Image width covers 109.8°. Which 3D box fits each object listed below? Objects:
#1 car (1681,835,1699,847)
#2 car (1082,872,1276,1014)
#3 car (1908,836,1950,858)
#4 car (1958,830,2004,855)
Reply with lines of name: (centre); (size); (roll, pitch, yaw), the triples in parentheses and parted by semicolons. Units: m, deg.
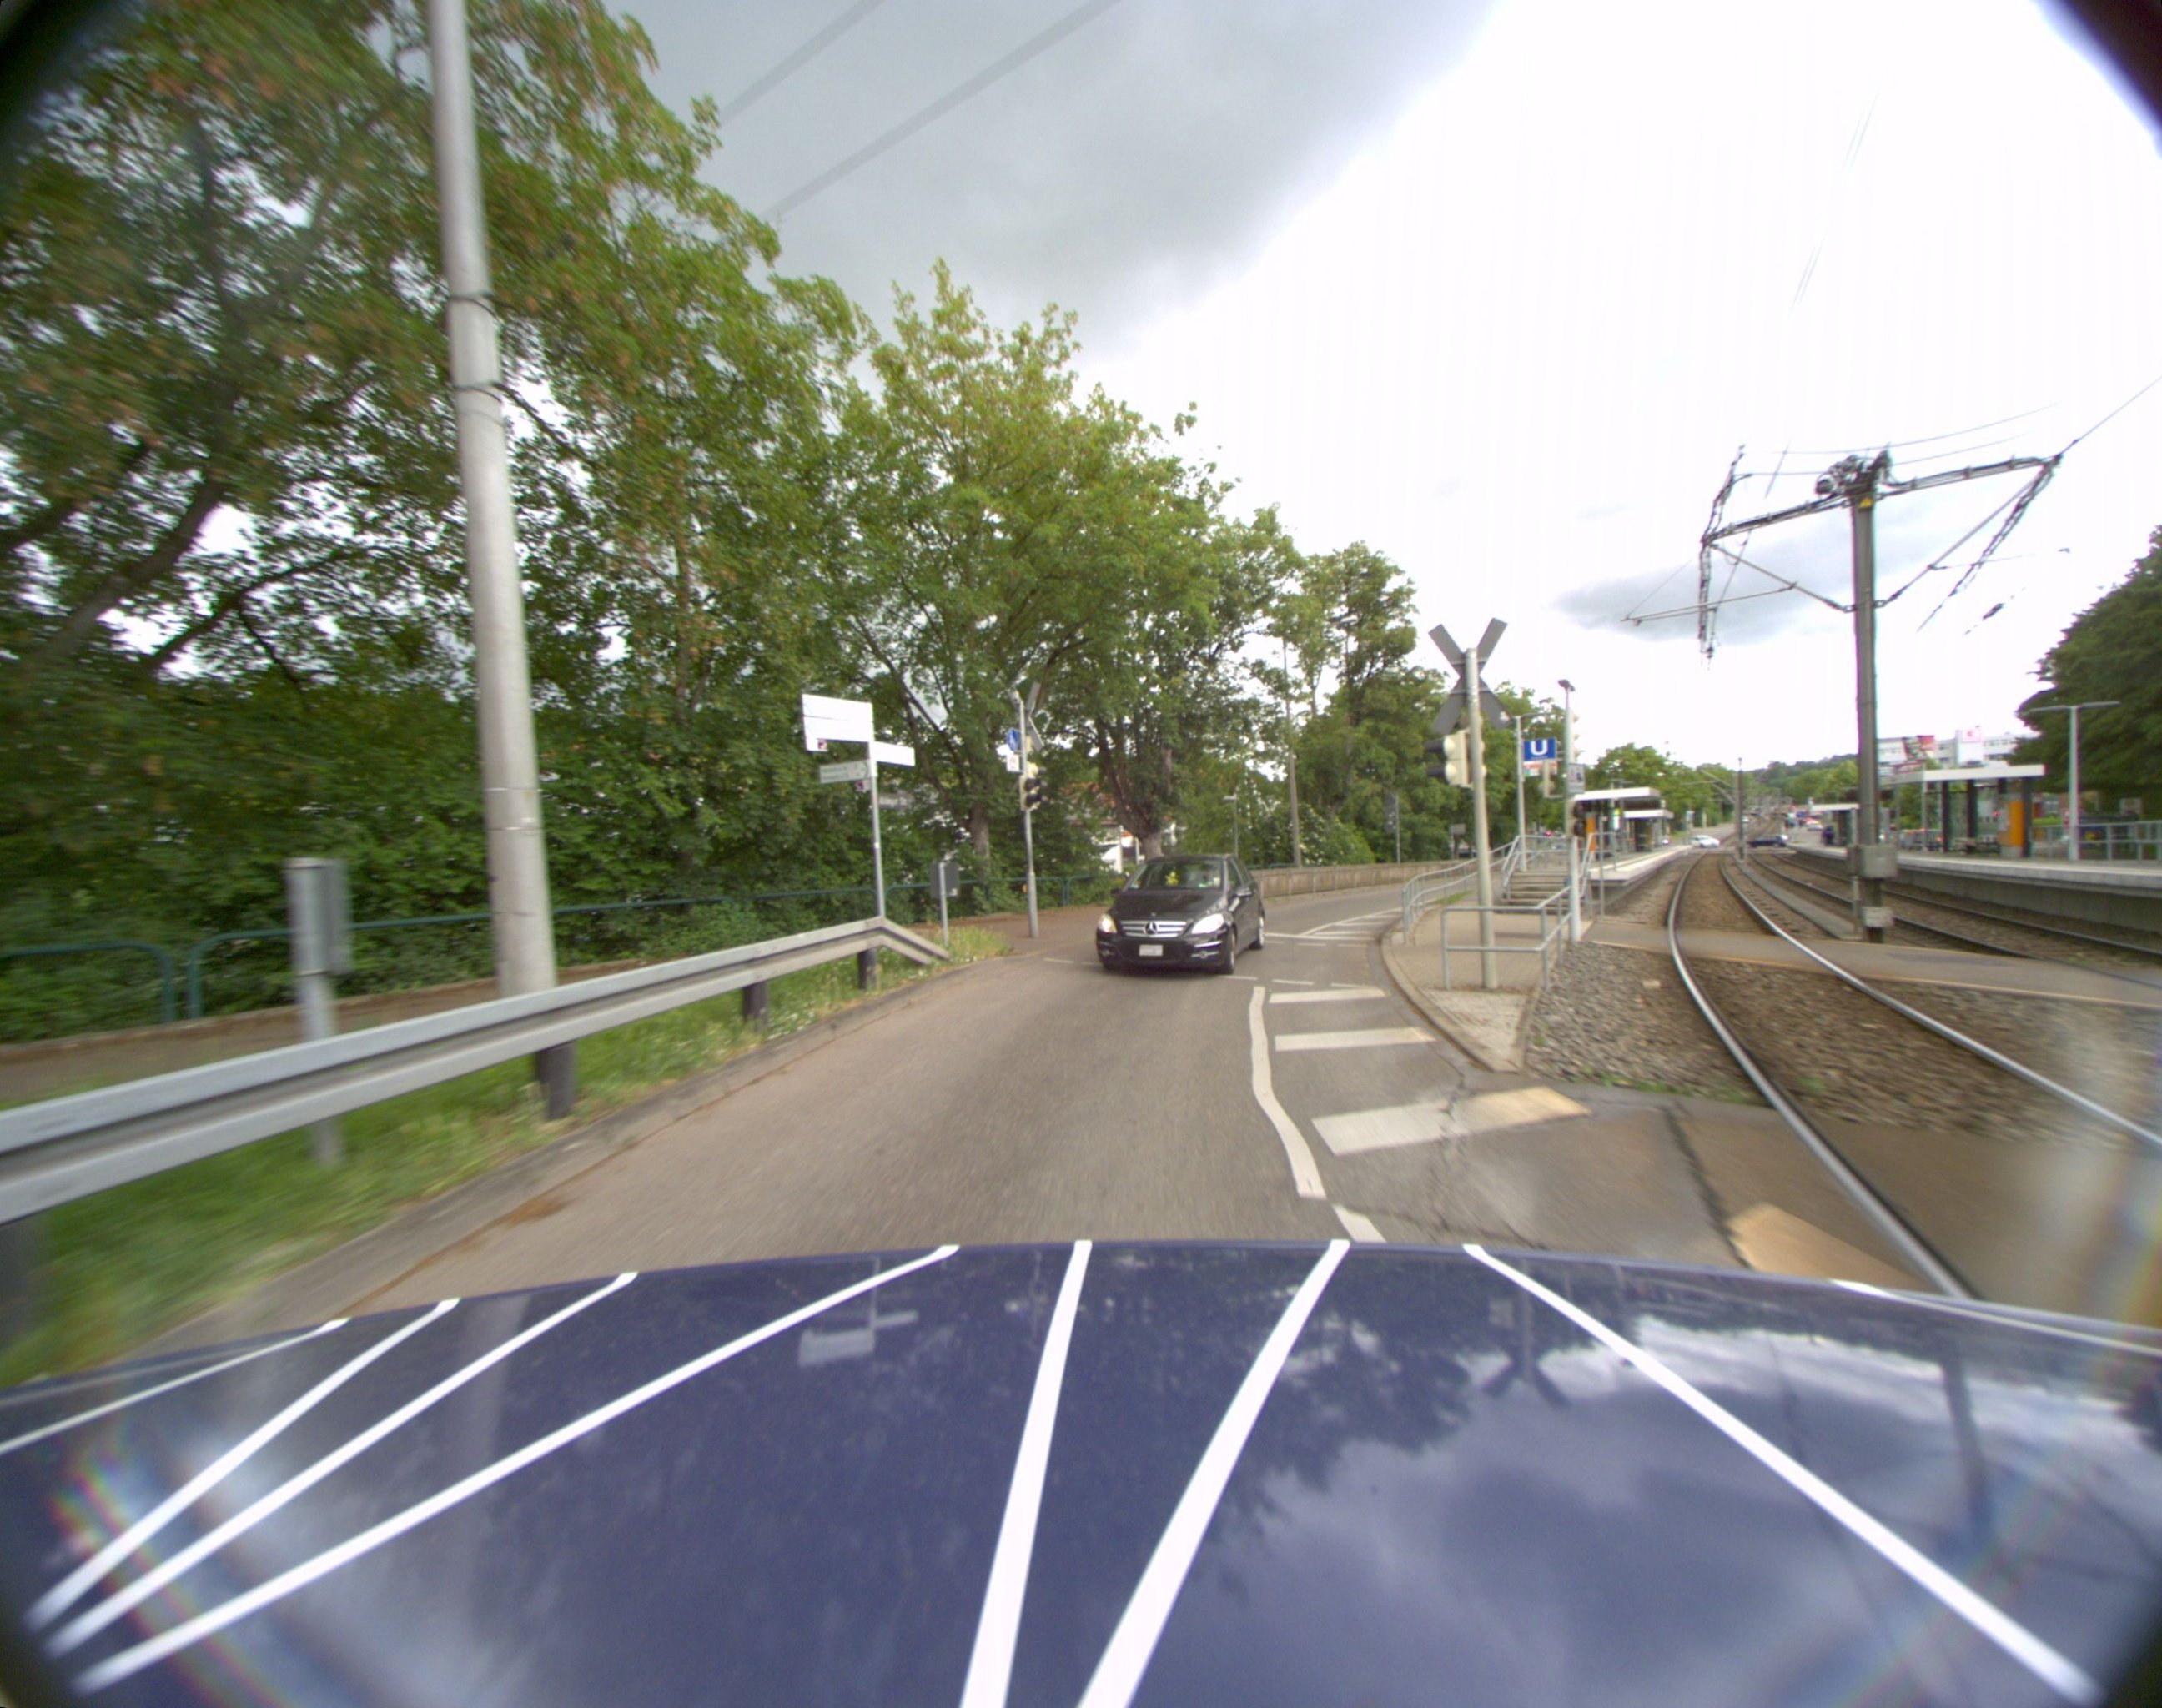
car: (74.469, -1.579, 92.969); (1.699, 1.469, 3.715); (0, 1, 38)
car: (1.678, 1.103, 11.276); (1.709, 1.573, 4.450); (0, 0, 23)
car: (68.246, -0.569, 61.173); (1.767, 1.689, 3.801); (0, 1, 41)
car: (69.514, -0.891, 58.743); (1.737, 1.829, 3.807); (0, 1, 41)
